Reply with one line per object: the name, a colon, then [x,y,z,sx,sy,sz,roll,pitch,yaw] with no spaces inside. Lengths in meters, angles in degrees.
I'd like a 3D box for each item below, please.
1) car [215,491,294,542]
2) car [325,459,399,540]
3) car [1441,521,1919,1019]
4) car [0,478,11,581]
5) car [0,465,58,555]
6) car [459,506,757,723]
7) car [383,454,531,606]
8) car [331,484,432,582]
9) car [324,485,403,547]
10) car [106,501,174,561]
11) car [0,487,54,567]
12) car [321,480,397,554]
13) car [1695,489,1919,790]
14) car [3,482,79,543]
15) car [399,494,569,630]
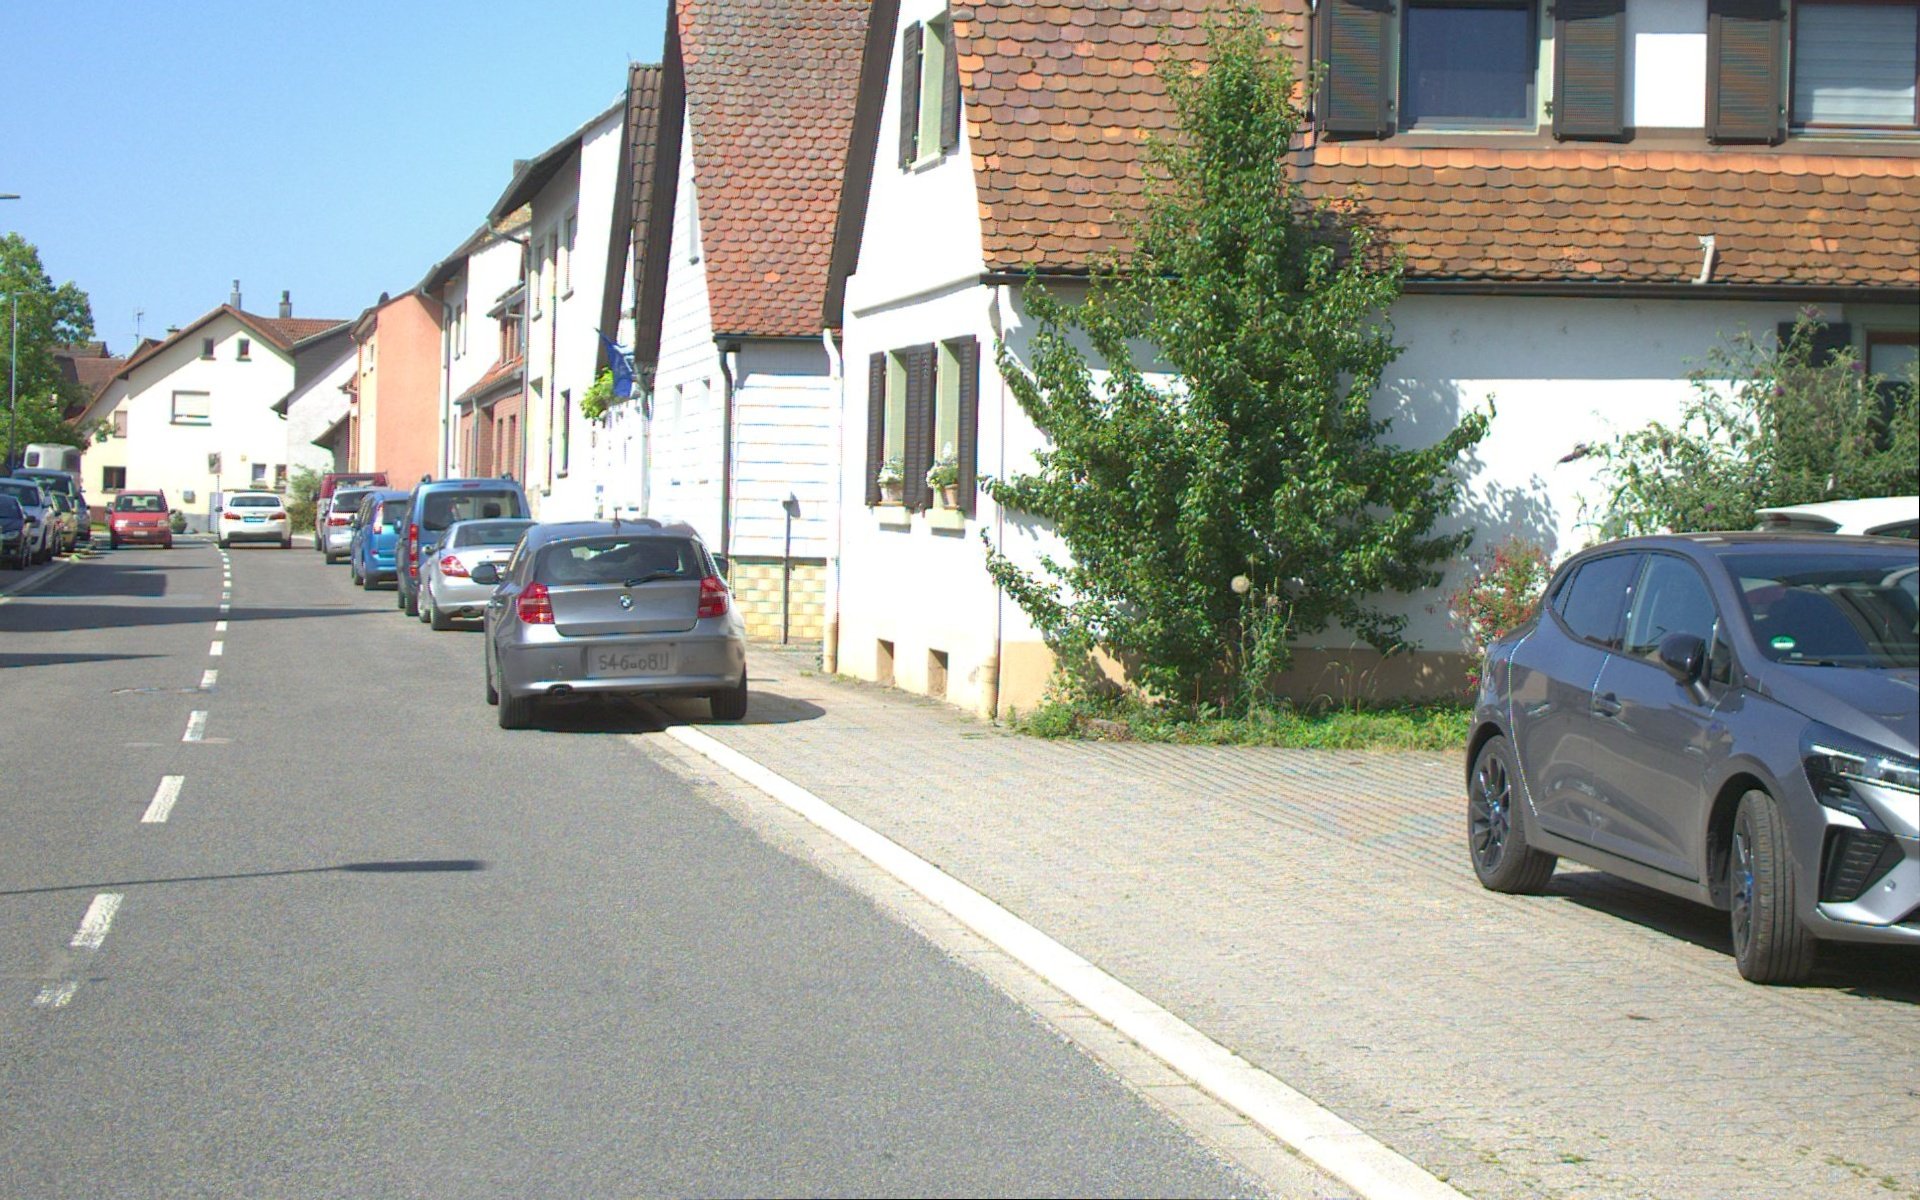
car: [-18.651,-2.188,90.871,1.993,1.284,4.001,1,1,-12]
car: [-15.183,-2.535,87.198,1.766,1.997,3.451,1,1,-11]
car: [3.087,0.468,11.948,1.689,1.415,4.147,2,1,-8]
car: [-15.513,-1.113,52.646,1.618,1.572,3.963,2,1,-12]
car: [-18.962,-1.813,68.825,1.527,1.707,3.627,2,1,-12]
car: [-2.615,0.047,24.802,1.704,1.428,3.891,0,1,-12]
car: [-6.789,-0.948,46.171,1.649,1.903,3.627,2,1,-12]
car: [-9.569,-1.122,56.724,1.420,1.510,3.305,2,1,-12]
car: [-14.241,-1.995,81.968,1.766,1.428,3.451,1,1,-11]
car: [-21.373,-1.807,89.720,1.600,1.484,3.627,2,1,-12]
car: [-17.913,-1.383,64.553,1.504,1.448,3.510,1,1,-11]
car: [-12.980,-1.797,74.101,1.420,1.510,3.305,2,1,-12]
car: [6.611,0.231,20.035,4.174,1.652,1.812,1,1,-5]
car: [-21.795,-2.076,81.576,1.527,1.351,3.627,2,1,-12]
car: [-5.729,-0.483,41.113,1.704,1.491,3.453,2,1,-12]
